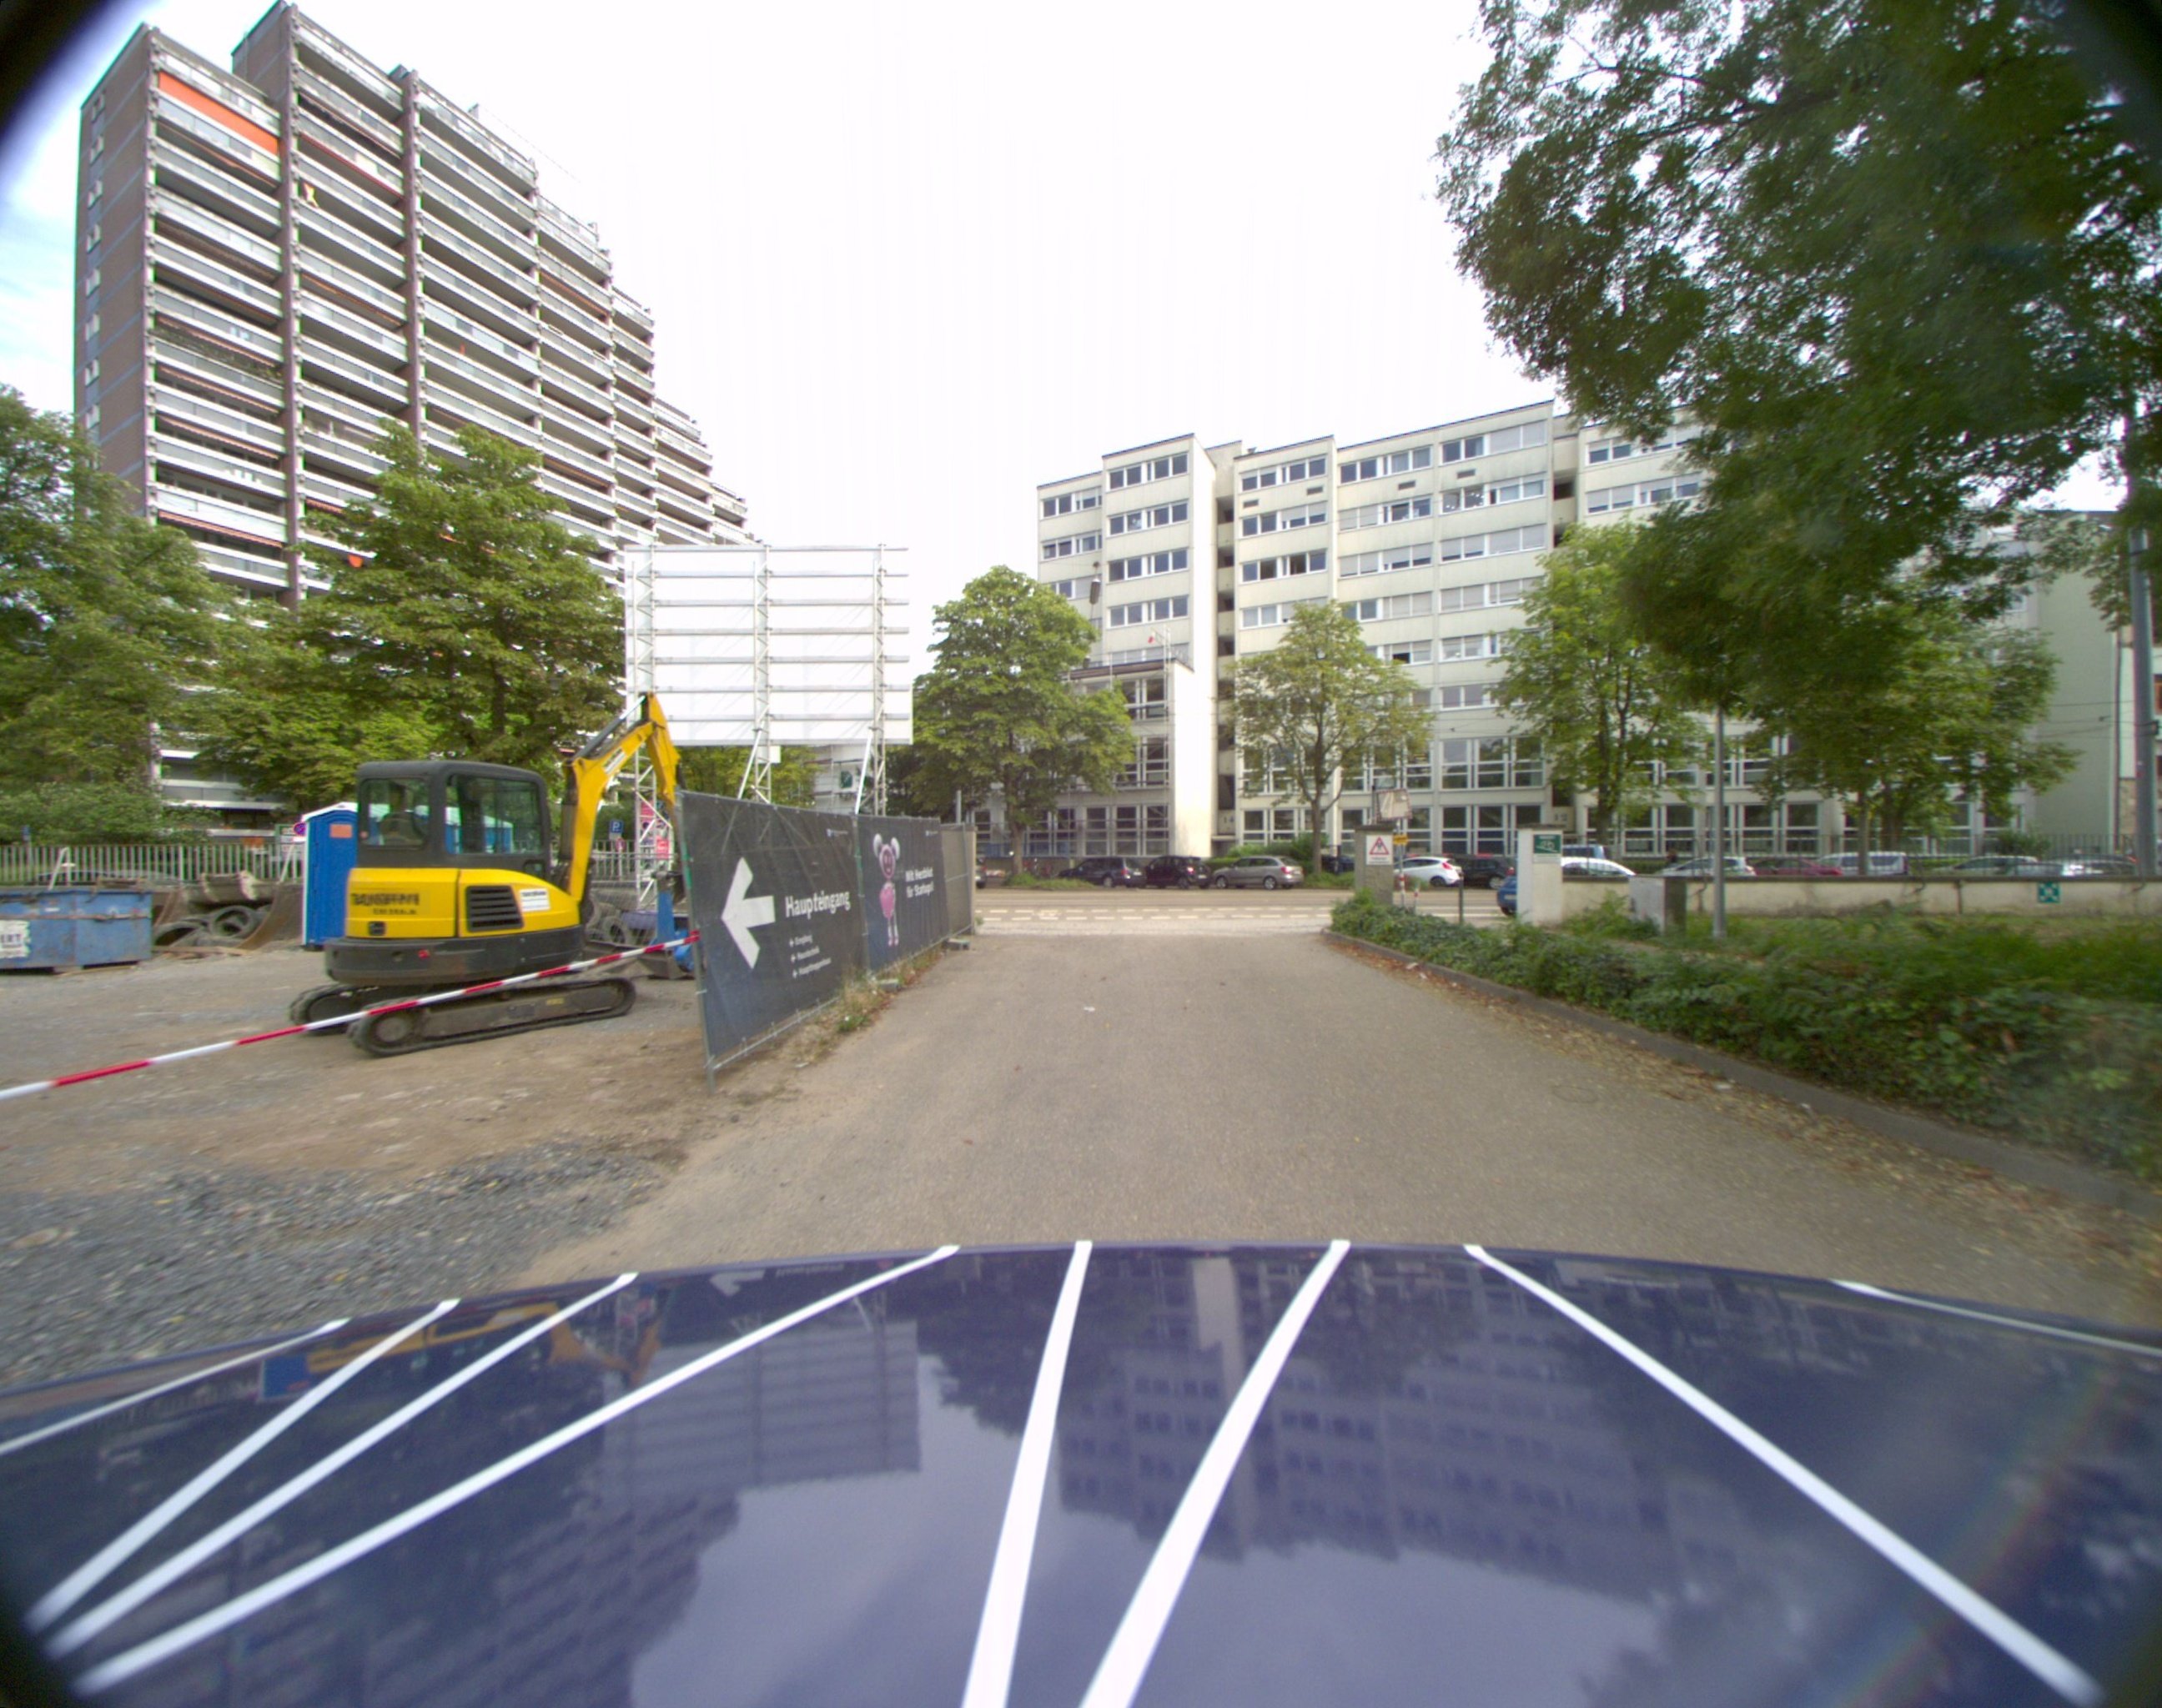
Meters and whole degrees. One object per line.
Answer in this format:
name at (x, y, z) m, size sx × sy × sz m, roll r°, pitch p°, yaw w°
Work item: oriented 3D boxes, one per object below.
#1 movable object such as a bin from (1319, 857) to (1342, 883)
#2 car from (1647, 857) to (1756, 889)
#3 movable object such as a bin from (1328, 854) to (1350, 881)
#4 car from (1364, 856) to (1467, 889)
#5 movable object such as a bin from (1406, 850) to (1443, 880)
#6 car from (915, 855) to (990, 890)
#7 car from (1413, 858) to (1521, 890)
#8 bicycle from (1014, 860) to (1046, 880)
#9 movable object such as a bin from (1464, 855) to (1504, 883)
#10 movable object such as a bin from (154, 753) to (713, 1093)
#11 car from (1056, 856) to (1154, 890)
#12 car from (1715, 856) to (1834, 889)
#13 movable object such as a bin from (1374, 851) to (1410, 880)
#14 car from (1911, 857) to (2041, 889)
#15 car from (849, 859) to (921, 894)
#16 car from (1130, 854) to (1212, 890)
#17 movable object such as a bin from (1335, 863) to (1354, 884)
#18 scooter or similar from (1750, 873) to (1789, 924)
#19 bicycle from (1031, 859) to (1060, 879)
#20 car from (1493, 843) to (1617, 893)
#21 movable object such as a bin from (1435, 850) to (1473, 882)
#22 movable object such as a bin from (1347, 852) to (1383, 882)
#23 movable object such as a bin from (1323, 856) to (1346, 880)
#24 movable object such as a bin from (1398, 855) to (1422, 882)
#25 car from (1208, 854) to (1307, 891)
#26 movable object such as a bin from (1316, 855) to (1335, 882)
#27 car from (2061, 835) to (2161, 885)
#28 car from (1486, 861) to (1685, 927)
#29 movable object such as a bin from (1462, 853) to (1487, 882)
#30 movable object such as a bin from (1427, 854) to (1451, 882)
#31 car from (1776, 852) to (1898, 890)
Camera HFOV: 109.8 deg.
movable object such as a bin at (13.716, 0.885, 41.760) m, size 1.116 × 1.383 × 1.065 m, roll 0°, pitch 0°, yaw 21°
car at (27.650, 0.819, 33.928) m, size 3.634 × 1.322 × 1.771 m, roll 0°, pitch 0°, yaw 44°
movable object such as a bin at (14.972, 0.757, 44.118) m, size 1.177 × 1.559 × 1.176 m, roll 0°, pitch 0°, yaw 21°
car at (14.763, 0.794, 33.639) m, size 3.850 × 1.385 × 1.637 m, roll 0°, pitch 0°, yaw 43°
movable object such as a bin at (17.674, 0.560, 39.148) m, size 1.352 × 1.493 × 1.336 m, roll 0°, pitch 0°, yaw 3°
car at (-5.753, 0.787, 33.781) m, size 1.685 × 1.411 × 3.636 m, roll -1°, pitch 0°, yaw -40°
car at (17.420, 0.888, 34.382) m, size 3.961 × 1.379 × 1.819 m, roll 0°, pitch -2°, yaw 44°
bicycle at (-2.730, 0.840, 41.028) m, size 0.593 × 1.037 × 1.982 m, roll 0°, pitch 0°, yaw 37°
movable object such as a bin at (20.698, 0.756, 39.045) m, size 1.399 × 1.450 × 1.336 m, roll 0°, pitch 0°, yaw 3°
movable object such as a bin at (-5.604, 0.504, 7.141) m, size 2.494 × 2.429 × 3.063 m, roll -1°, pitch 0°, yaw 10°
car at (1.023, 0.808, 33.926) m, size 4.158 × 1.407 × 1.820 m, roll 0°, pitch 0°, yaw 40°
car at (30.793, 0.788, 33.814) m, size 1.818 × 1.331 × 3.759 m, roll -1°, pitch 0°, yaw -42°
movable object such as a bin at (16.077, 0.575, 39.307) m, size 1.336 × 1.495 × 1.336 m, roll 0°, pitch 0°, yaw 3°
car at (40.264, 0.821, 34.323) m, size 3.634 × 1.322 × 1.771 m, roll 0°, pitch 0°, yaw 44°
car at (-8.783, 0.972, 33.890) m, size 1.685 × 1.466 × 3.636 m, roll -1°, pitch 0°, yaw -40°
car at (3.999, 0.782, 34.117) m, size 1.599 × 1.528 × 3.407 m, roll 0°, pitch 0°, yaw -44°
movable object such as a bin at (13.455, 0.990, 38.841) m, size 0.742 × 1.099 × 0.787 m, roll 0°, pitch 0°, yaw 5°
scooter or similar at (16.164, 1.034, 17.866) m, size 0.368 × 1.160 × 1.007 m, roll 0°, pitch -2°, yaw 24°
bicycle at (-1.885, 0.791, 40.706) m, size 0.593 × 1.037 × 1.981 m, roll 0°, pitch 0°, yaw 27°
car at (20.973, 0.586, 33.718) m, size 4.333 × 2.052 × 2.004 m, roll 0°, pitch 0°, yaw 44°
movable object such as a bin at (19.149, 0.608, 39.056) m, size 1.352 × 1.586 × 1.336 m, roll 0°, pitch 0°, yaw 3°
movable object such as a bin at (14.636, 0.648, 39.152) m, size 1.414 × 1.520 × 1.331 m, roll 0°, pitch 0°, yaw 3°
movable object such as a bin at (14.338, 0.790, 42.947) m, size 1.177 × 1.362 × 1.177 m, roll 0°, pitch 0°, yaw 21°
movable object such as a bin at (18.559, 0.804, 42.866) m, size 1.172 × 1.505 × 1.182 m, roll 0°, pitch 0°, yaw 28°
car at (7.789, 0.793, 33.814) m, size 4.041 × 1.528 × 1.599 m, roll -1°, pitch 0°, yaw 44°
movable object such as a bin at (13.058, 0.755, 40.596) m, size 0.910 × 1.398 × 1.026 m, roll 0°, pitch 0°, yaw 21°
car at (47.845, 0.236, 33.584) m, size 2.153 × 2.163 × 5.424 m, roll -1°, pitch 0°, yaw -42°
car at (11.724, 0.891, 17.805) m, size 3.600 × 1.456 × 1.633 m, roll 0°, pitch 0°, yaw -1°
movable object such as a bin at (21.445, 0.733, 41.428) m, size 1.172 × 1.559 × 1.182 m, roll 0°, pitch 0°, yaw 28°
movable object such as a bin at (19.933, 0.770, 42.264) m, size 1.172 × 1.559 × 1.182 m, roll 0°, pitch 0°, yaw 28°
car at (33.659, 0.722, 33.905) m, size 1.818 × 1.609 × 3.759 m, roll -1°, pitch 0°, yaw -42°
